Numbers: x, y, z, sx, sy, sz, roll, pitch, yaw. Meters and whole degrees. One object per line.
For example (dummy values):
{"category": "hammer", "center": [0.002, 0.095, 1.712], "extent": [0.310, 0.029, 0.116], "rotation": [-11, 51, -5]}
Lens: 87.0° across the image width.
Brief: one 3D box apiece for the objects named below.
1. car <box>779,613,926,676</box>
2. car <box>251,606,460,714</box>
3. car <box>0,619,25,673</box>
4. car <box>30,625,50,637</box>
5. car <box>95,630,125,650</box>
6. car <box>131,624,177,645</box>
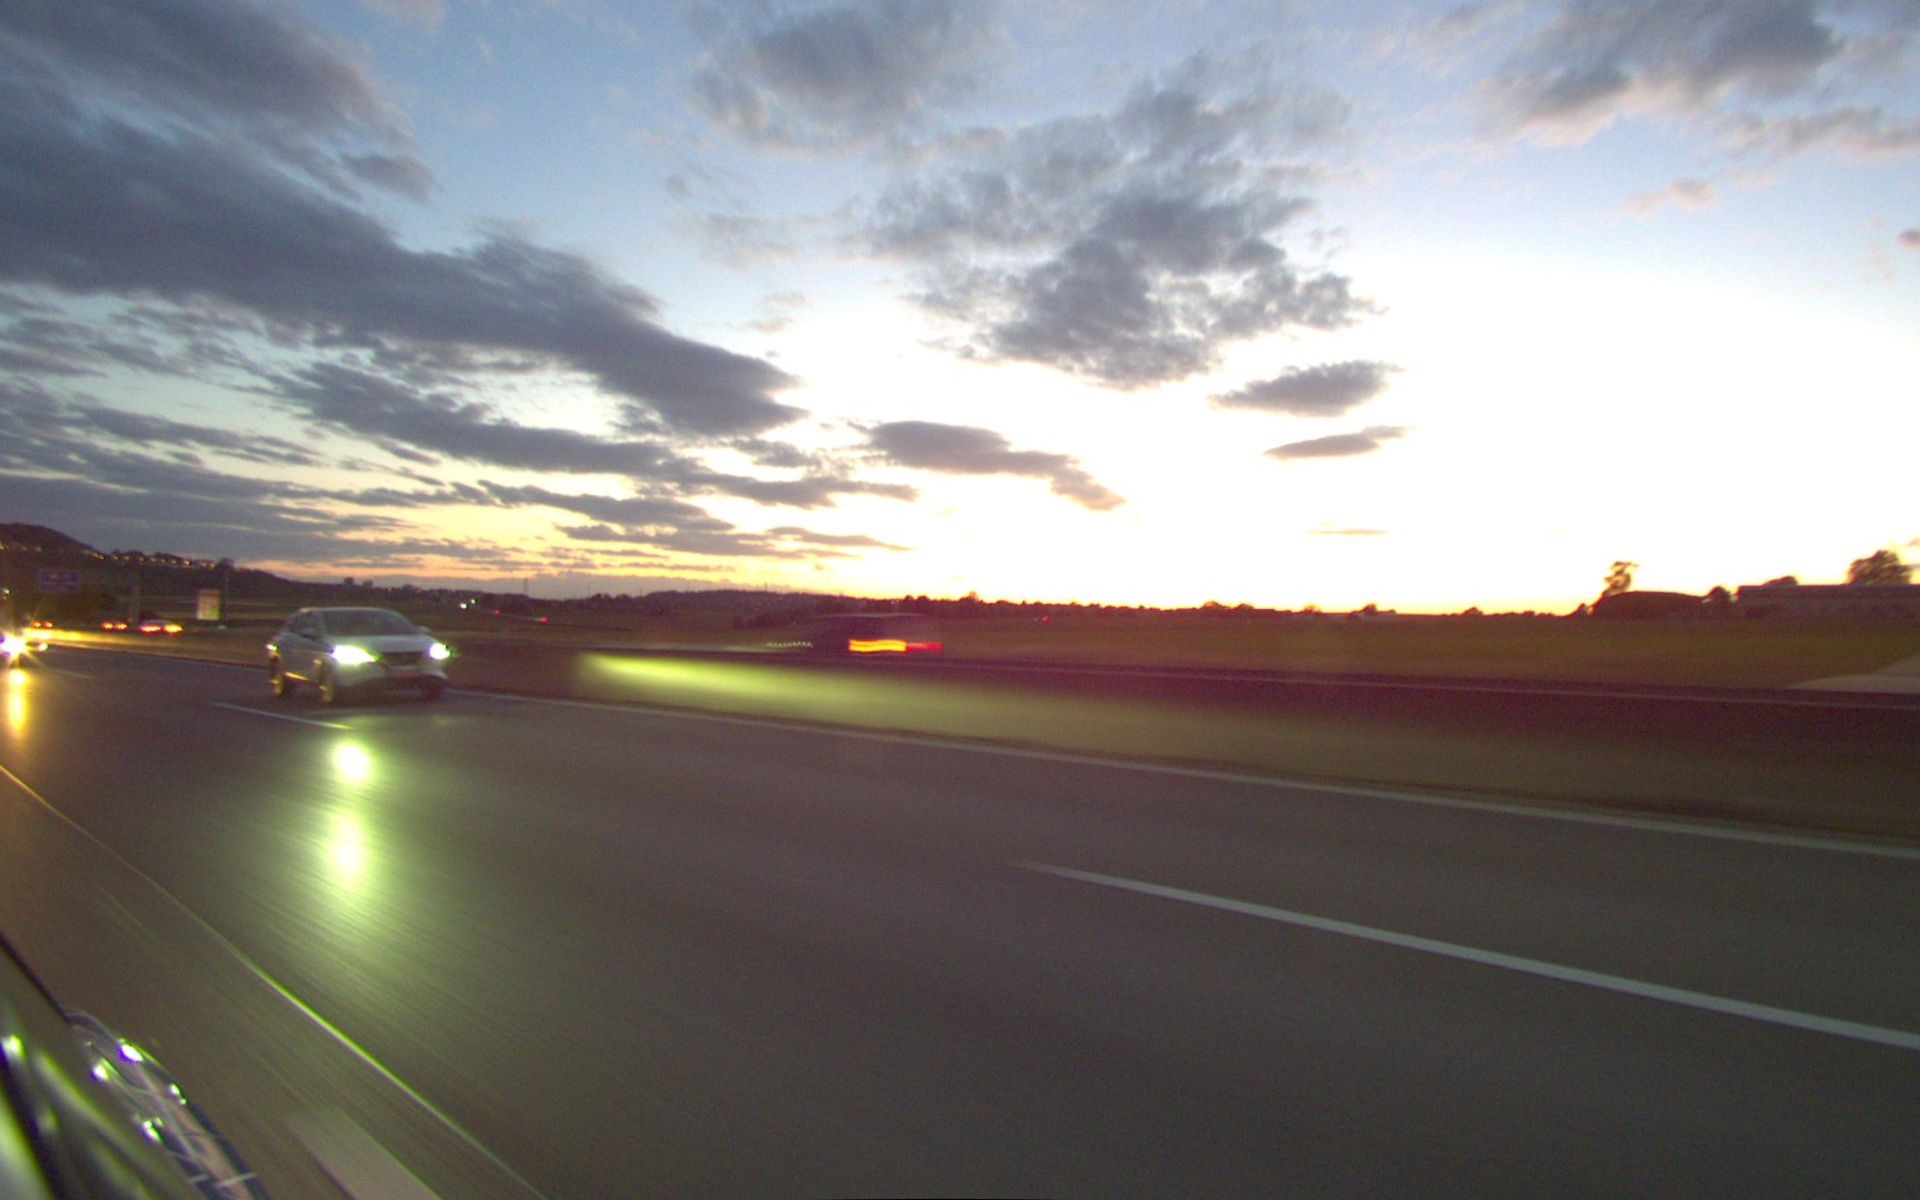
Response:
{"category": "car", "center": [-3.594, 1.377, 33.158], "extent": [4.955, 1.861, 1.973], "rotation": [-1, 0, 41]}
{"category": "car", "center": [-10.945, 0.963, 18.170], "extent": [4.854, 1.660, 1.795], "rotation": [-1, 0, 41]}
{"category": "car", "center": [-30.383, 1.408, 31.252], "extent": [4.157, 1.552, 1.778], "rotation": [-1, 0, 41]}
{"category": "car", "center": [-132.935, 4.466, 146.210], "extent": [4.518, 1.546, 1.641], "rotation": [-1, 0, 41]}
{"category": "car", "center": [-92.393, 4.330, 109.986], "extent": [4.417, 2.029, 1.755], "rotation": [-1, 0, 41]}
{"category": "car", "center": [-54.601, 2.328, 68.529], "extent": [4.703, 1.310, 1.654], "rotation": [-1, 0, 41]}
